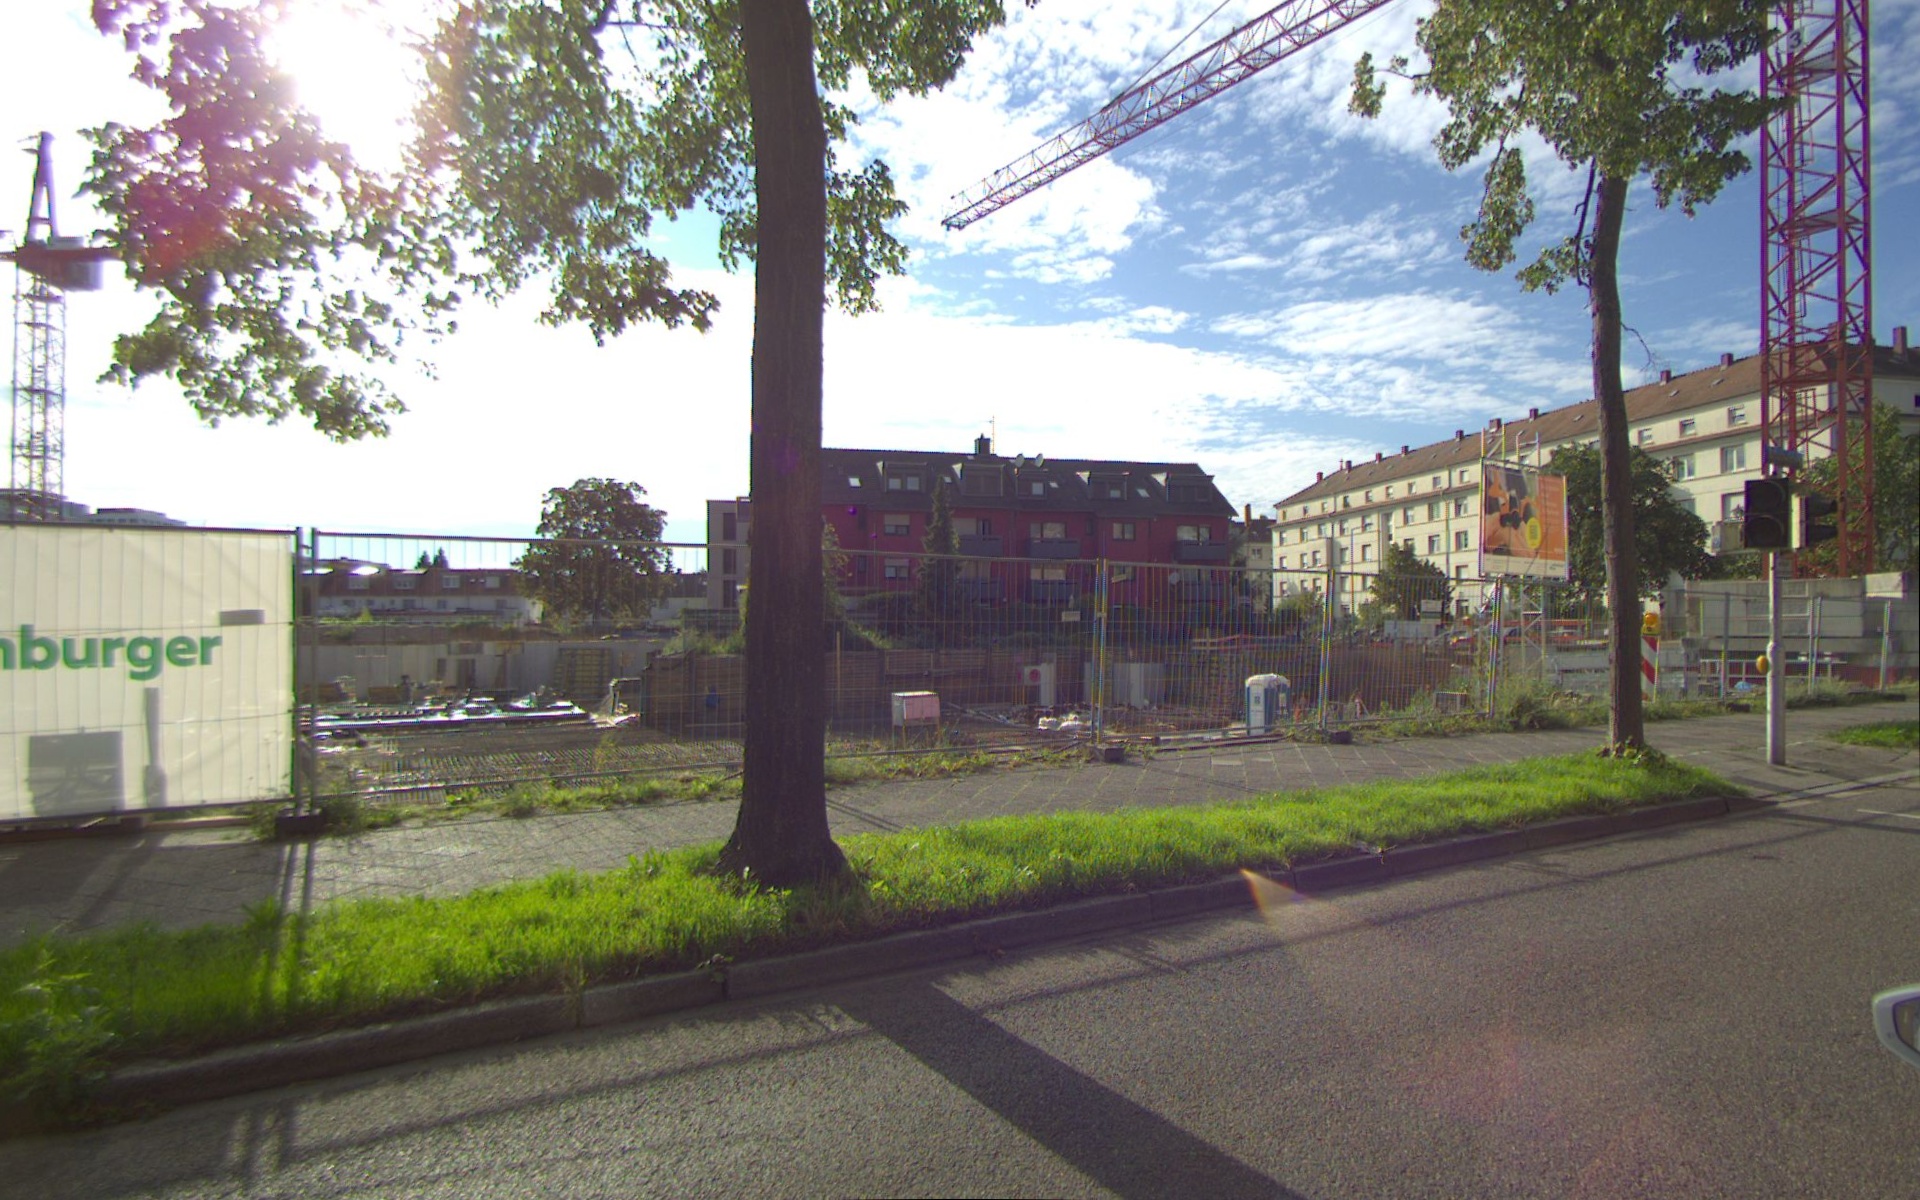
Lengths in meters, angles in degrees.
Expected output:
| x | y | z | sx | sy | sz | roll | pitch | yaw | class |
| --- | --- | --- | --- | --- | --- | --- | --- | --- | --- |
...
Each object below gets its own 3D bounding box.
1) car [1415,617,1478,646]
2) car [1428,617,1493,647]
| x | y | z | sx | sy | sz | roll | pitch | yaw | class |
| --- | --- | --- | --- | --- | --- | --- | --- | --- | --- |
| 35.792 | 2.299 | 73.966 | 3.937 | 2.040 | 1.992 | 1 | -1 | -18 | car |
| 35.536 | 2.247 | 71.350 | 3.937 | 2.040 | 1.992 | 1 | -1 | -18 | car |
